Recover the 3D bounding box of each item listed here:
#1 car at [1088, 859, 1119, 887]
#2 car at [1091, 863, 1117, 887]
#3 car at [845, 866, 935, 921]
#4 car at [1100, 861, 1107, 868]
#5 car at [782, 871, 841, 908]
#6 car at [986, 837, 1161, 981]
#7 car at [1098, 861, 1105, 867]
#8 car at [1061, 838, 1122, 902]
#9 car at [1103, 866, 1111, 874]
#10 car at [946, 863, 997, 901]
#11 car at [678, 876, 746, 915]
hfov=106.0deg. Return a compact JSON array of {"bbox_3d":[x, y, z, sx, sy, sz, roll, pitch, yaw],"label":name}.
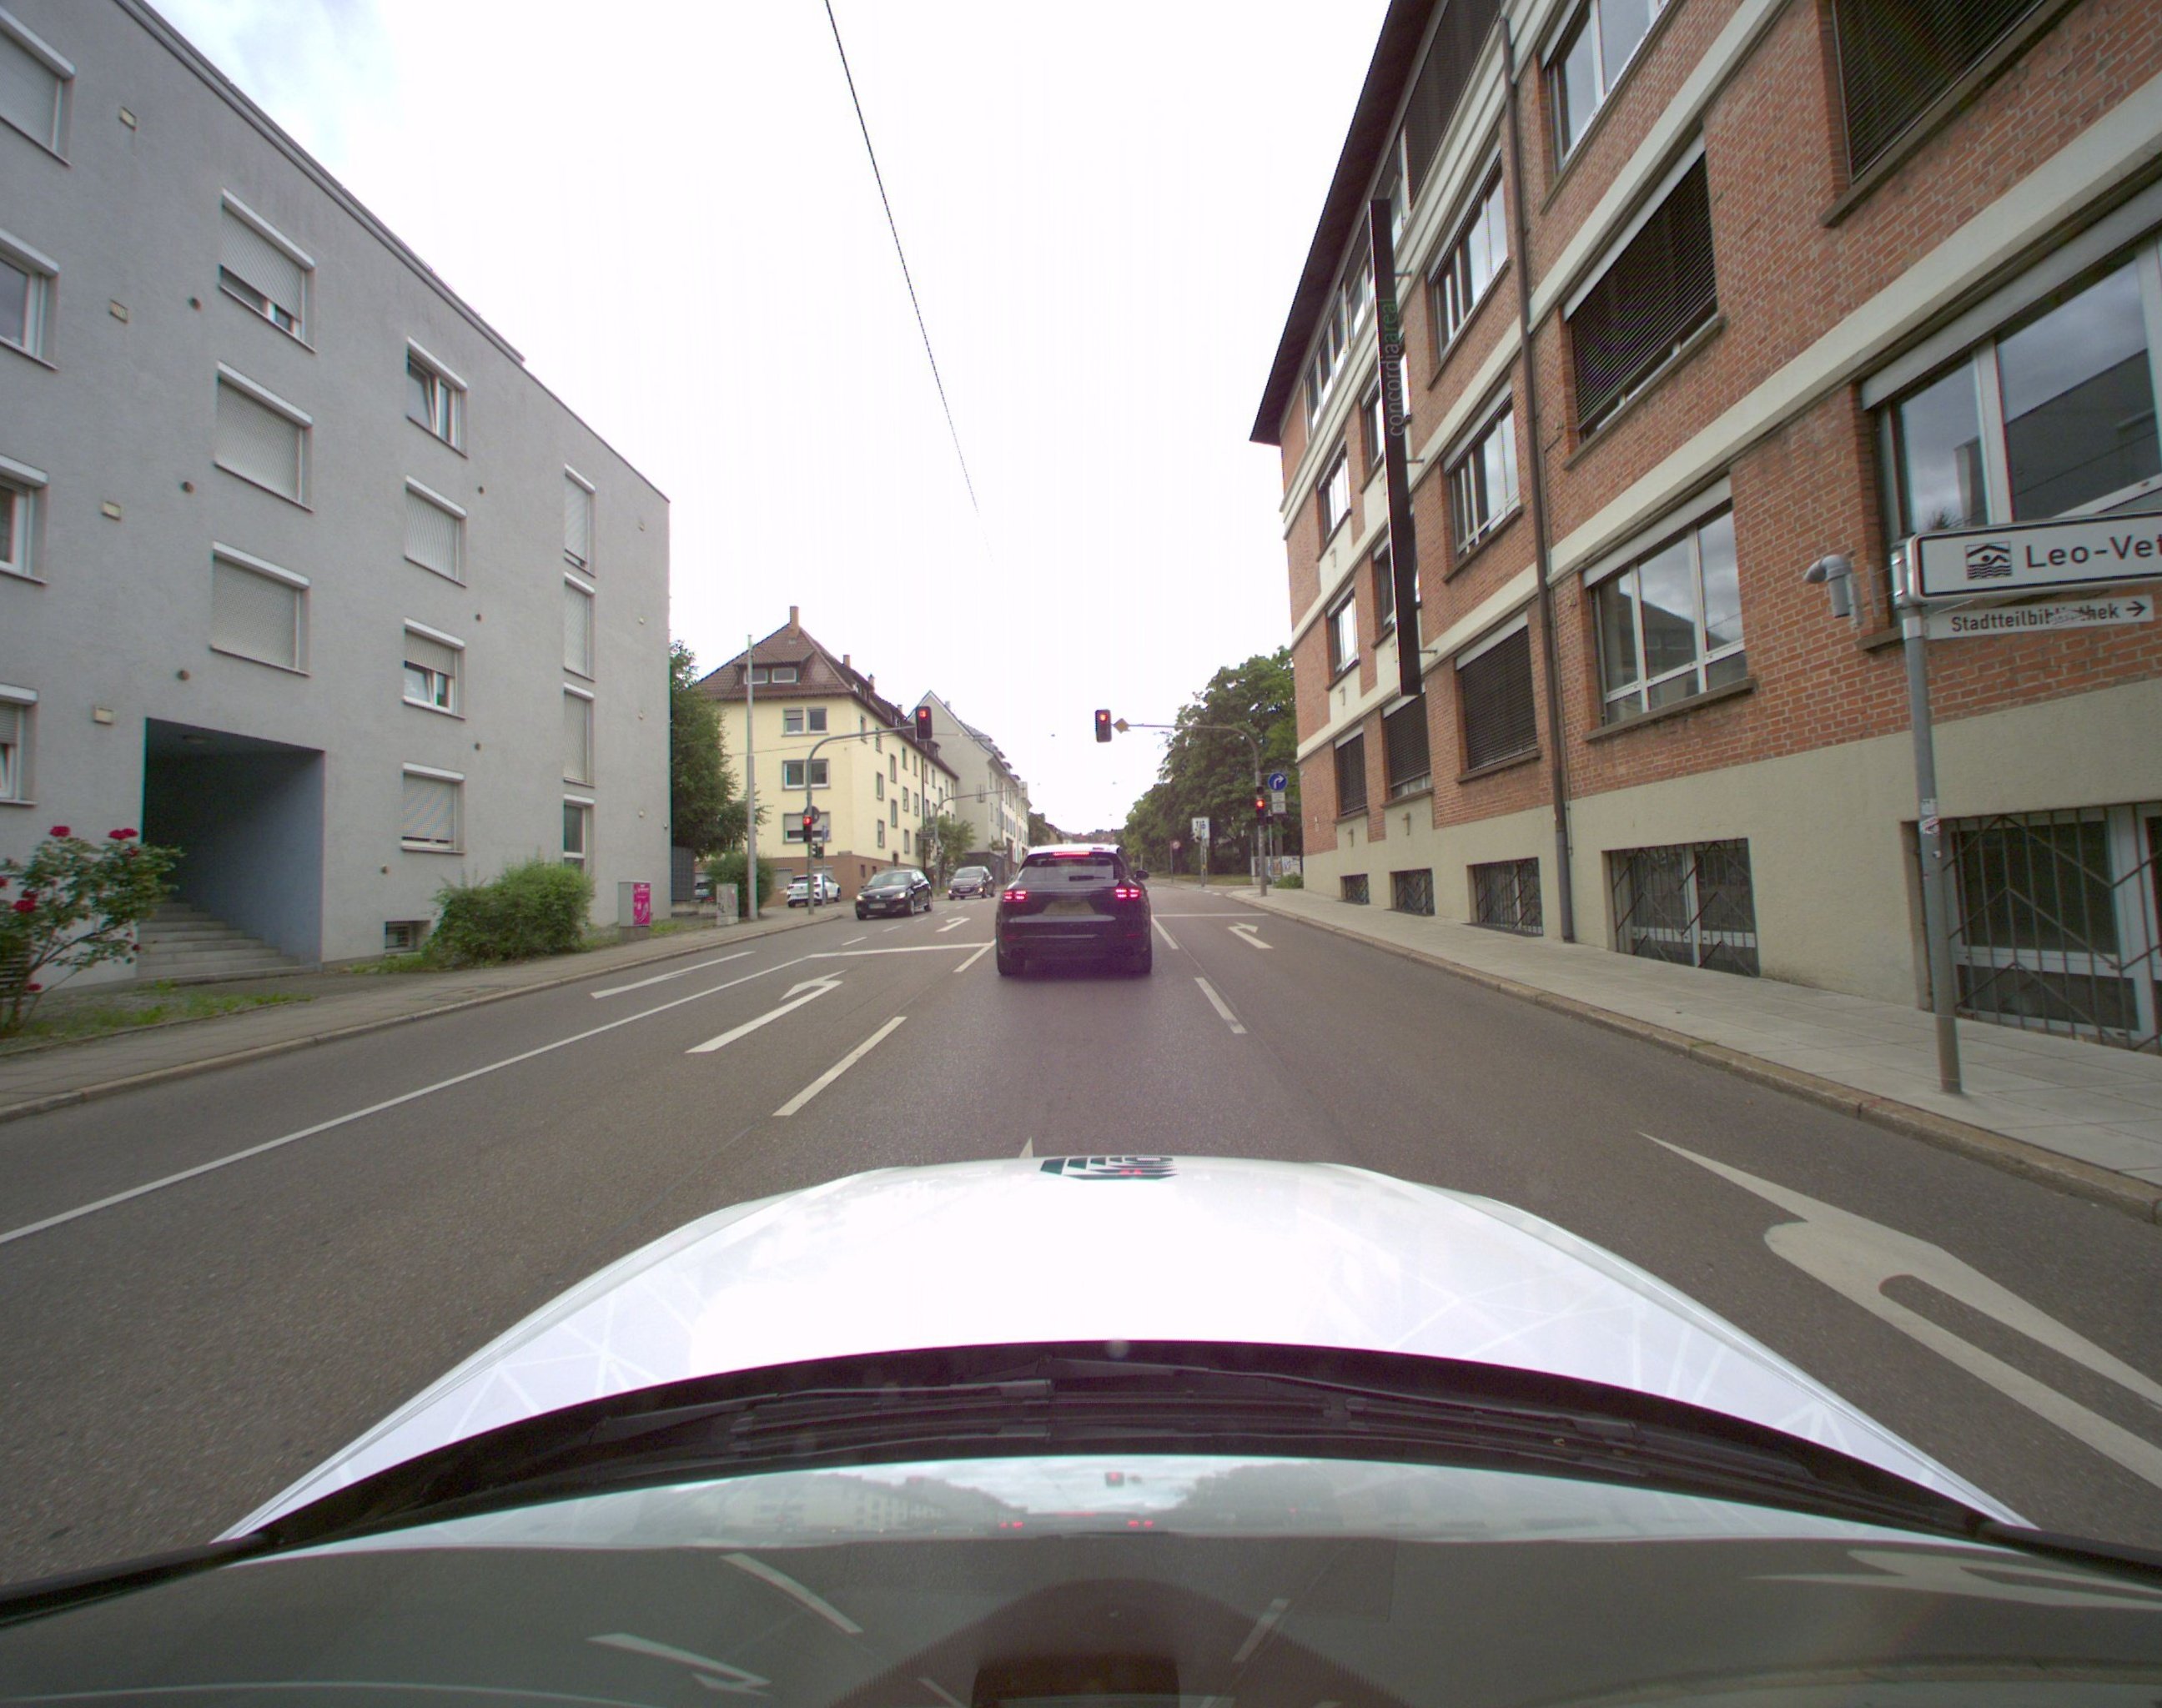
[{"bbox_3d":[1.392,1.129,50.363,1.820,1.605,4.137,-1,0,2],"label":"car"},{"bbox_3d":[1.683,1.486,59.073,1.820,1.605,3.861,-1,0,2],"label":"car"},{"bbox_3d":[-5.823,1.154,25.306,1.667,1.400,3.796,-4,0,2],"label":"car"},{"bbox_3d":[5.841,2.751,209.477,1.820,1.605,4.137,-1,0,2],"label":"car"},{"bbox_3d":[-13.358,1.718,40.535,1.686,1.555,3.763,-4,0,-2],"label":"car"},{"bbox_3d":[-0.005,0.642,11.697,2.040,1.666,4.269,-1,0,2],"label":"car"},{"bbox_3d":[5.353,2.716,216.817,1.820,1.605,4.137,-1,0,2],"label":"car"},{"bbox_3d":[0.429,0.515,28.455,1.957,2.042,4.137,-1,0,2],"label":"car"},{"bbox_3d":[6.139,3.690,188.974,1.820,1.605,4.137,-1,0,2],"label":"car"},{"bbox_3d":[-5.295,1.340,39.832,1.697,1.587,3.938,-4,0,2],"label":"car"},{"bbox_3d":[-18.272,2.012,40.520,1.686,1.608,3.763,-4,0,-2],"label":"car"}]
